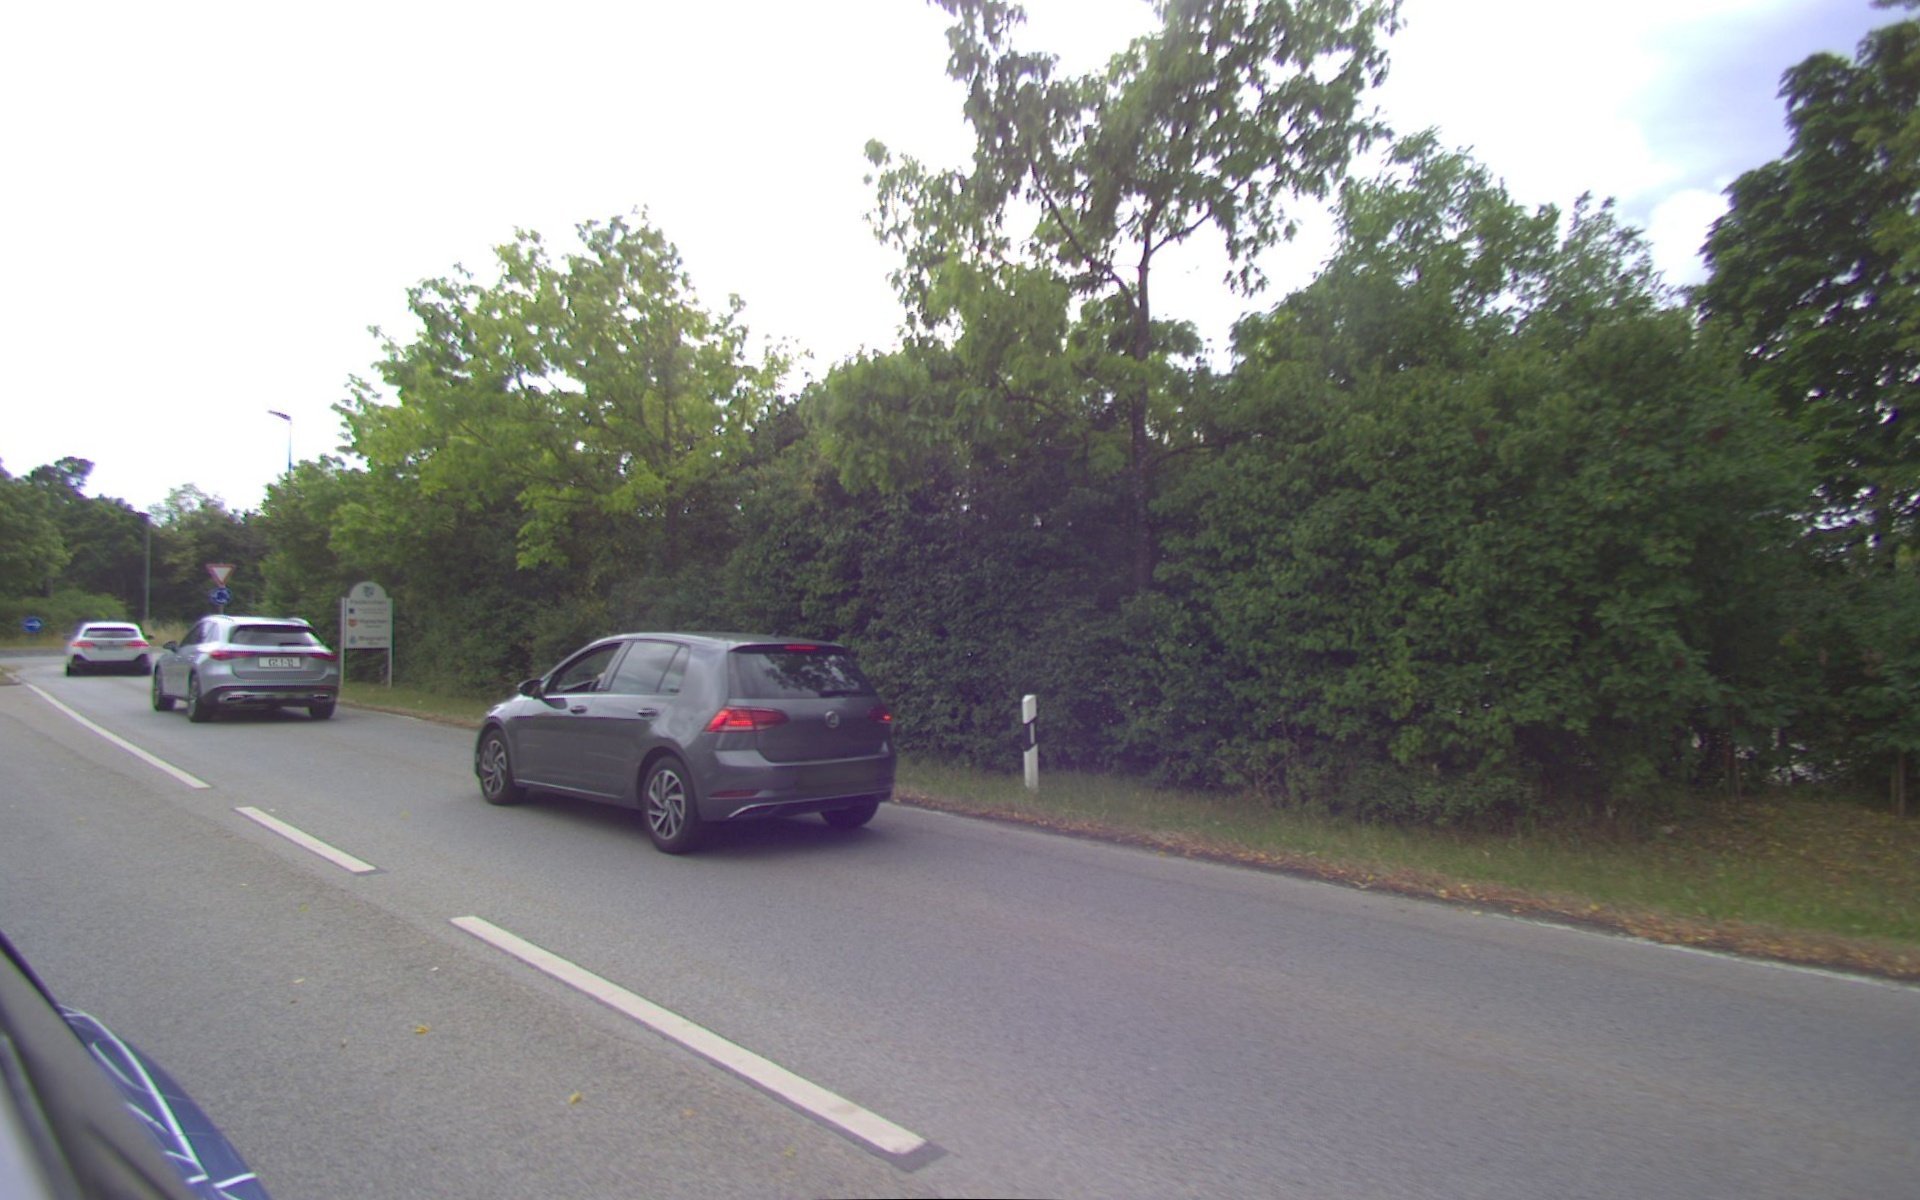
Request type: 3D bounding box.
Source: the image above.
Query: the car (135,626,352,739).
[{"bbox_3d":[-12.004,1.276,16.829,4.665,1.614,1.972,-1,-4,43],"label":"car"}]

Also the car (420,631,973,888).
[{"bbox_3d":[-2.254,1.010,7.979,4.474,1.430,1.973,-1,-4,40],"label":"car"}]

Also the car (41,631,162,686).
[{"bbox_3d":[-25.055,1.704,29.471,4.944,1.465,2.188,-3,-5,44],"label":"car"}]
